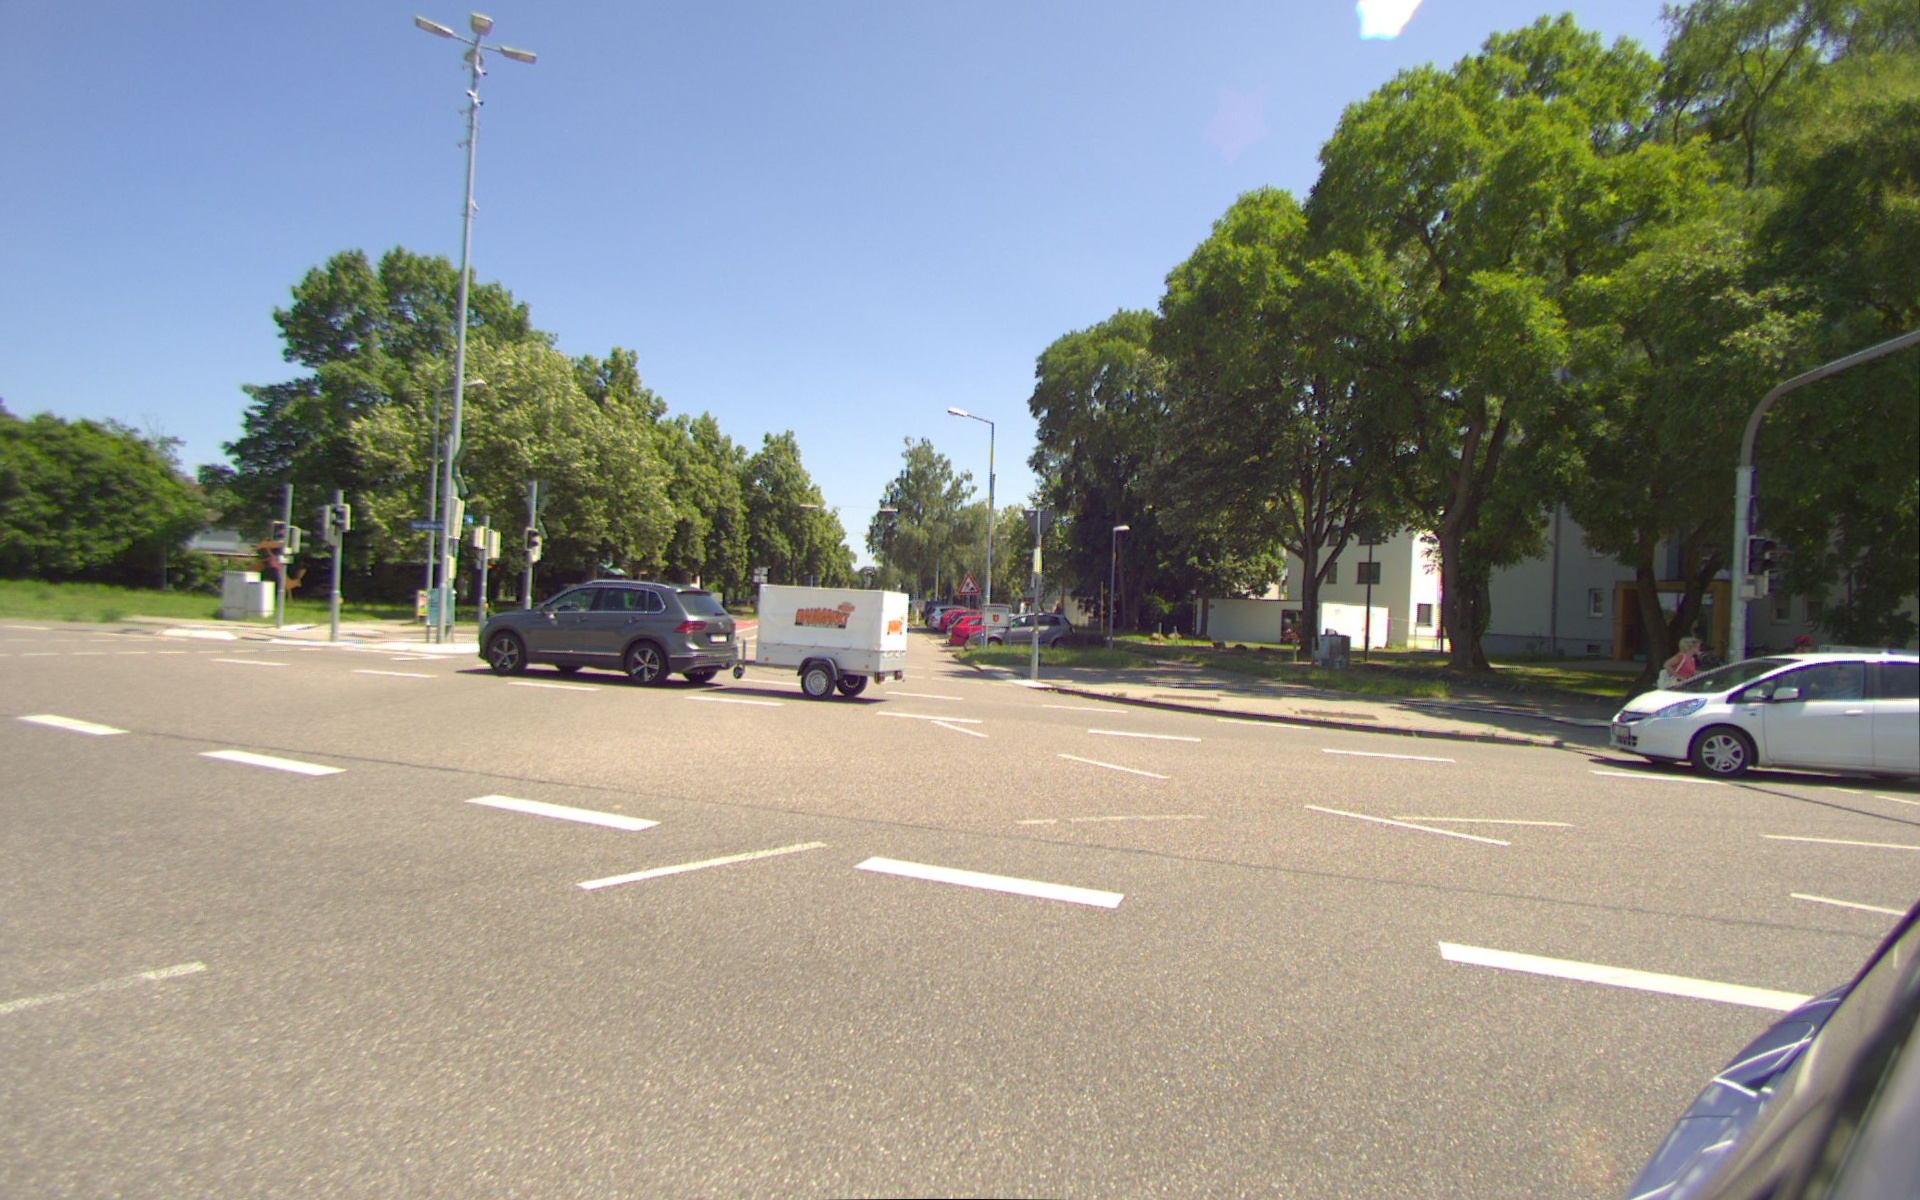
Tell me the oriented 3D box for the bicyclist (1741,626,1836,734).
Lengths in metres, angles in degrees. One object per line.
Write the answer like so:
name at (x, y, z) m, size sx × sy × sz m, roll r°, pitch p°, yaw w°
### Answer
bicyclist at (13.042, 1.240, 15.944) m, size 0.634 × 1.563 × 0.911 m, roll 2°, pitch 2°, yaw -28°

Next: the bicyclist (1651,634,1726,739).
bicyclist at (10.906, 1.277, 15.155) m, size 0.603 × 1.486 × 0.630 m, roll 2°, pitch 2°, yaw -28°

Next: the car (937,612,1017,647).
car at (0.752, 1.346, 46.075) m, size 3.422 × 1.447 × 1.585 m, roll 2°, pitch -2°, yaw -6°

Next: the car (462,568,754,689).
car at (-5.822, 0.447, 16.823) m, size 4.347 × 1.679 × 1.722 m, roll 3°, pitch -2°, yaw 17°

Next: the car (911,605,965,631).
car at (-1.503, 1.190, 67.167) m, size 3.422 × 1.600 × 1.585 m, roll 2°, pitch -2°, yaw -6°

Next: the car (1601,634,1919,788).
car at (10.125, 1.280, 12.012) m, size 3.842 × 1.524 × 1.723 m, roll 3°, pitch -1°, yaw 15°

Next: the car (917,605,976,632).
car at (-0.844, 1.146, 61.920) m, size 3.422 × 1.575 × 1.585 m, roll 2°, pitch -2°, yaw -6°

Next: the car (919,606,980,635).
car at (-0.647, 1.219, 59.805) m, size 3.422 × 1.575 × 1.585 m, roll 2°, pitch -2°, yaw -6°

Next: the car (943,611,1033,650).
car at (1.117, 1.255, 41.165) m, size 3.422 × 1.447 × 1.585 m, roll 2°, pitch -2°, yaw -6°

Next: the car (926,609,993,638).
car at (-0.031, 1.261, 54.651) m, size 3.422 × 1.447 × 1.585 m, roll 2°, pitch -2°, yaw -6°

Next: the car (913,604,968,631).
car at (-1.268, 1.110, 65.053) m, size 3.422 × 1.600 × 1.585 m, roll 2°, pitch -2°, yaw -6°

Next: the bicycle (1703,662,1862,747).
bicycle at (12.979, 1.617, 16.038) m, size 0.603 × 1.076 × 1.809 m, roll 2°, pitch 2°, yaw -28°

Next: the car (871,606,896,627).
car at (-5.027, 1.119, 66.654) m, size 1.553 × 1.243 × 3.493 m, roll 2°, pitch -2°, yaw -4°

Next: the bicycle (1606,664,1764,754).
bicycle at (10.857, 1.595, 15.226) m, size 0.603 × 1.076 × 1.809 m, roll 2°, pitch 2°, yaw -28°

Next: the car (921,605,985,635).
car at (-0.423, 1.126, 57.409) m, size 3.422 × 1.575 × 1.585 m, roll 2°, pitch -2°, yaw -6°

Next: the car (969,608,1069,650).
car at (2.187, 1.092, 37.857) m, size 3.420 × 1.447 × 1.586 m, roll 2°, pitch -2°, yaw -9°

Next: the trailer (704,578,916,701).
trailer at (-2.313, 0.587, 15.791) m, size 2.897 × 1.676 × 1.401 m, roll 3°, pitch -2°, yaw 16°
